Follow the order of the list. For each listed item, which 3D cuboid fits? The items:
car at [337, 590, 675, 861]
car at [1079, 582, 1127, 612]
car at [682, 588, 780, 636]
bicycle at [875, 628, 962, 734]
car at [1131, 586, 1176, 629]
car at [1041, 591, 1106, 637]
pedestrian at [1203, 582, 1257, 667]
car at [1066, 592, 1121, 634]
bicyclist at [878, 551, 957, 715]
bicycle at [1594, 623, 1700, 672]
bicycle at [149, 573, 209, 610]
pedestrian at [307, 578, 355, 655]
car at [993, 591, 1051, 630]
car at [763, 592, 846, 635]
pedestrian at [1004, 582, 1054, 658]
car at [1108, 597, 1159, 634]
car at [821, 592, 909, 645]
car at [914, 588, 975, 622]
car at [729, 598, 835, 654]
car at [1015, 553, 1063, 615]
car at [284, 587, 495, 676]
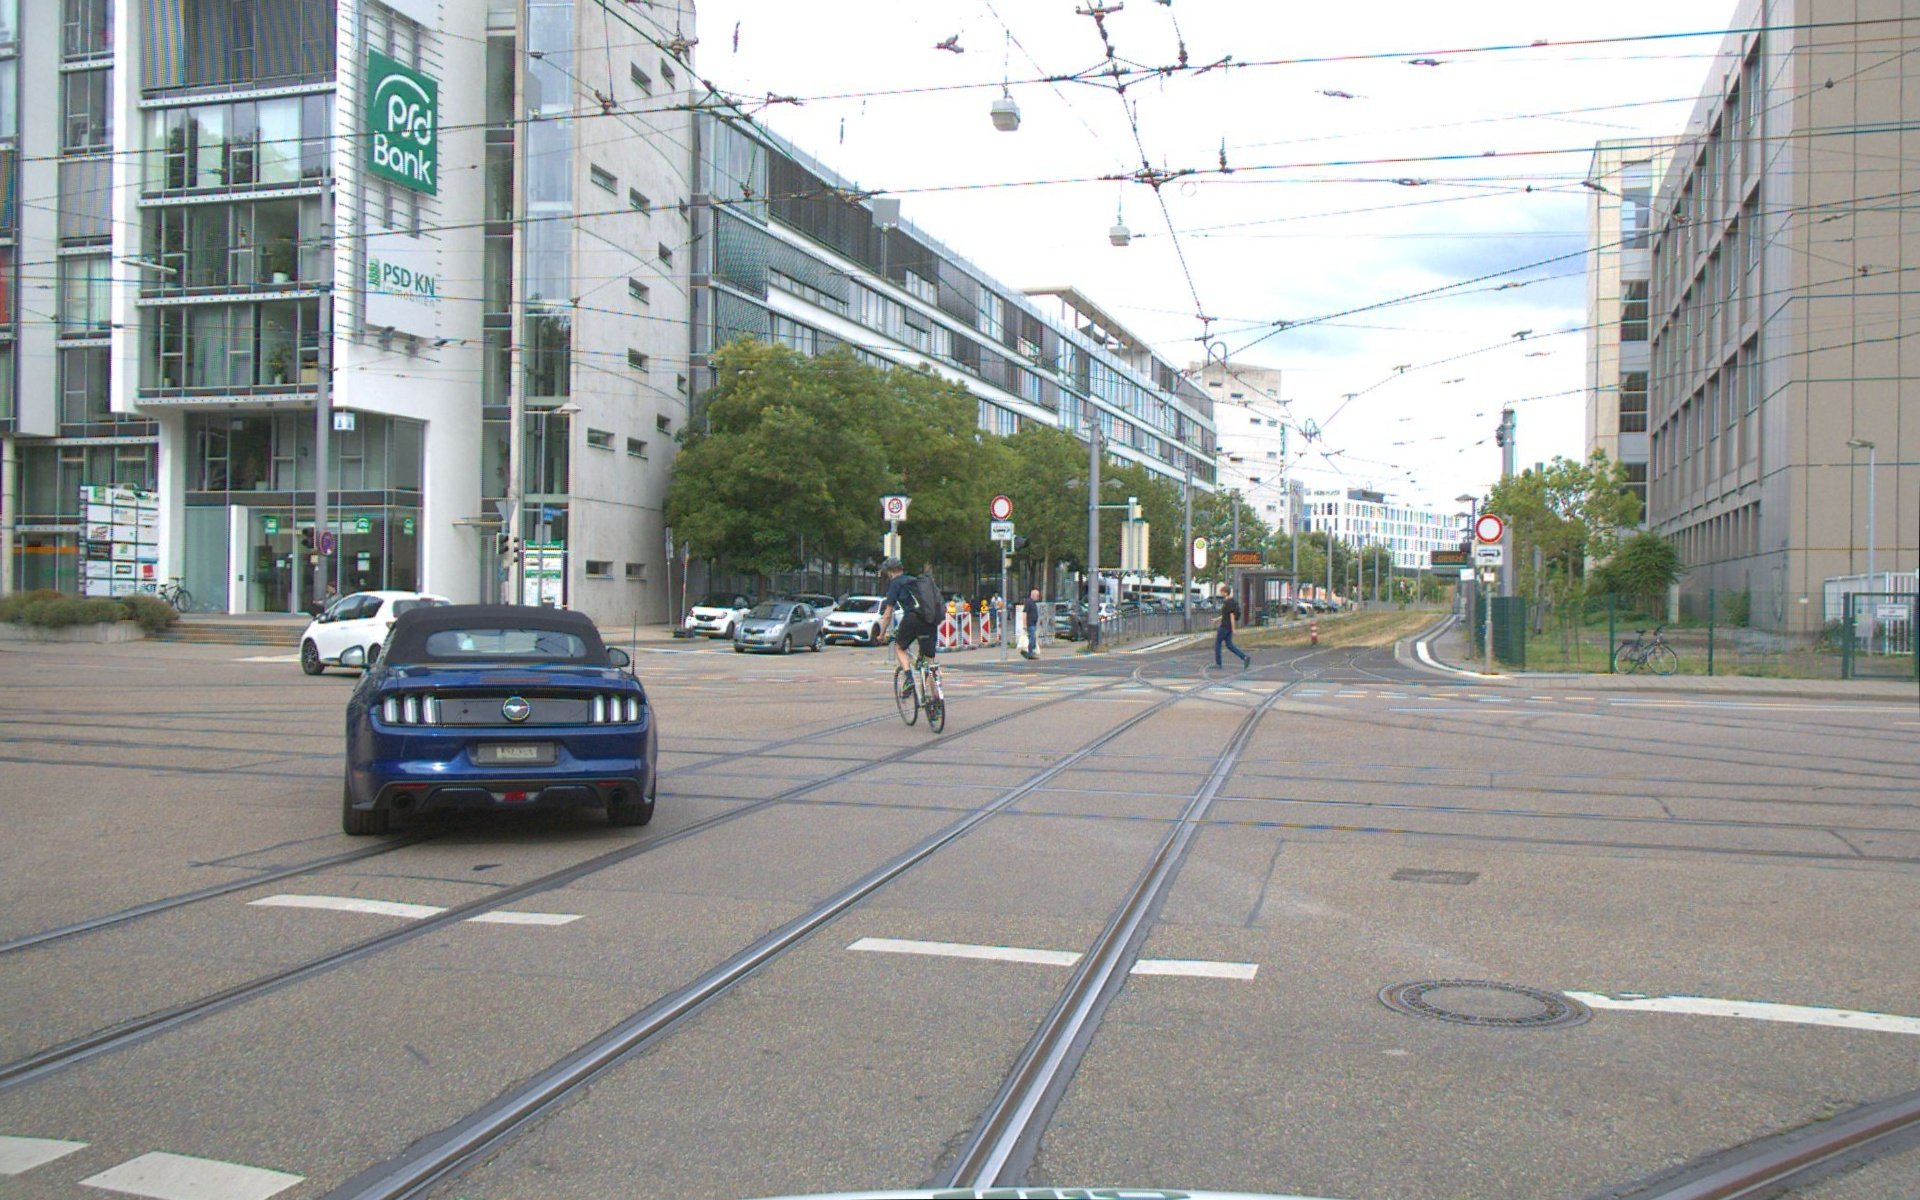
[{"bbox_3d":[-3.202,0.674,11.364,1.847,1.428,4.260,0,1,-19],"label":"car"},{"bbox_3d":[8.163,-0.157,94.217,1.863,1.613,4.184,3,1,17],"label":"car"},{"bbox_3d":[-8.107,0.402,58.884,1.791,1.584,4.219,3,1,17],"label":"car"},{"bbox_3d":[-0.503,0.901,19.030,0.785,1.105,2.128,0,0,-7],"label":"bicycle"},{"bbox_3d":[9.387,0.368,80.032,1.747,2.022,4.124,0,0,13],"label":"car"},{"bbox_3d":[4.313,0.521,62.392,1.839,1.657,4.090,0,0,13],"label":"car"},{"bbox_3d":[6.230,0.561,38.157,1.064,1.931,0.902,0,0,22],"label":"pedestrian"},{"bbox_3d":[5.474,0.520,67.624,1.668,1.634,4.082,0,0,13],"label":"car"},{"bbox_3d":[-0.508,0.369,19.052,0.781,1.817,1.231,0,0,-7],"label":"bicyclist"},{"bbox_3d":[14.403,1.005,34.742,0.625,0.998,2.138,0,-2,-28],"label":"bicycle"},{"bbox_3d":[-26.253,-0.287,55.626,0.572,1.197,2.116,2,0,15],"label":"bicycle"},{"bbox_3d":[-15.695,0.392,41.285,0.817,1.897,0.765,0,0,25],"label":"pedestrian"},{"bbox_3d":[2.936,0.491,77.232,1.679,1.689,4.135,3,1,17],"label":"car"},{"bbox_3d":[-6.144,0.518,65.825,1.791,1.584,4.219,3,1,17],"label":"car"},{"bbox_3d":[1.738,0.494,41.794,0.970,1.888,0.900,0,0,28],"label":"pedestrian"},{"bbox_3d":[7.927,0.700,75.490,1.828,1.634,4.216,0,0,13],"label":"car"},{"bbox_3d":[-3.252,0.626,57.302,1.679,1.689,4.135,3,1,17],"label":"car"},{"bbox_3d":[-0.762,0.252,83.263,1.944,1.584,4.516,3,1,14],"label":"car"},{"bbox_3d":[-5.327,0.755,50.105,1.633,1.533,4.237,3,1,17],"label":"car"},{"bbox_3d":[4.853,-0.971,101.502,1.944,3.700,4.516,2,1,14],"label":"car"},{"bbox_3d":[-10.106,0.506,29.173,4.114,1.464,1.829,0,0,43],"label":"car"}]
